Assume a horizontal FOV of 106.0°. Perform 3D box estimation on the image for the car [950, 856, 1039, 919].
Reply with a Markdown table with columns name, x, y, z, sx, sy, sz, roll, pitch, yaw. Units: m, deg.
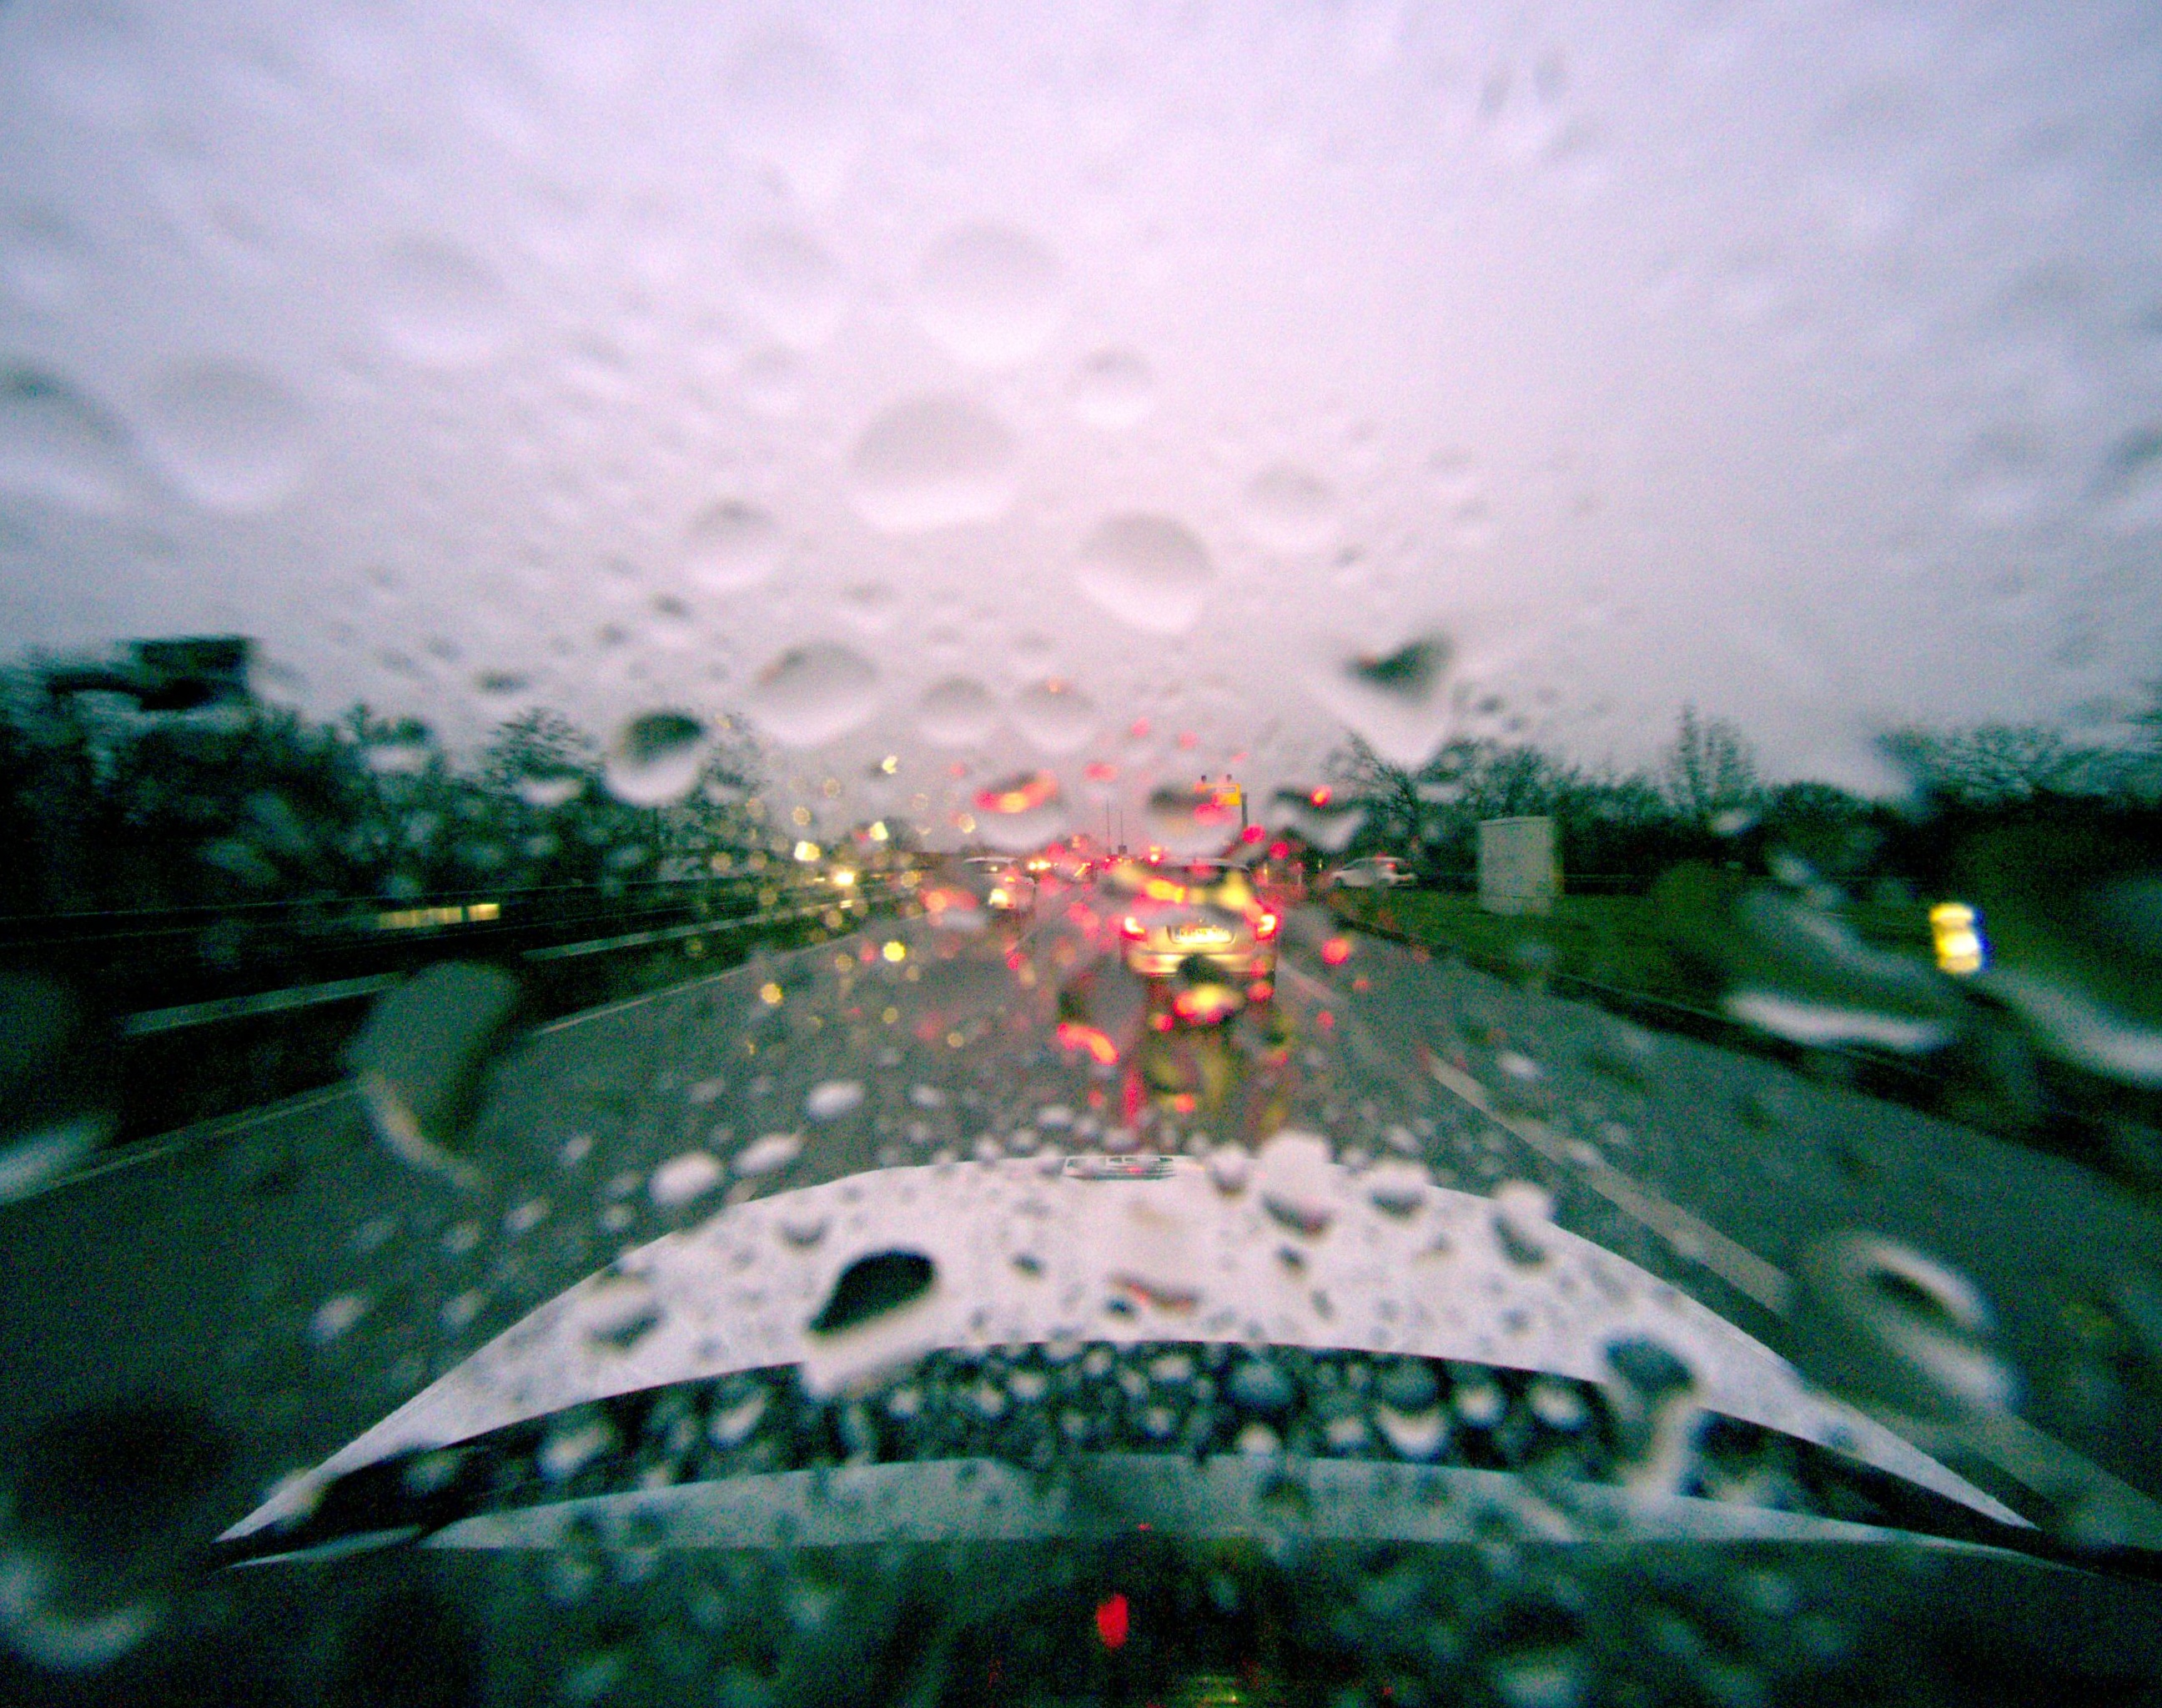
| name | x | y | z | sx | sy | sz | roll | pitch | yaw |
| --- | --- | --- | --- | --- | --- | --- | --- | --- | --- |
| car | -2.137 | 0.796 | 21.141 | 1.717 | 1.440 | 4.227 | -2 | 0 | 1 |

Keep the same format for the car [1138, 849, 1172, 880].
| name | x | y | z | sx | sy | sz | roll | pitch | yaw |
| --- | --- | --- | --- | --- | --- | --- | --- | --- | --- |
| car | 4.496 | 0.604 | 49.959 | 1.889 | 1.767 | 4.312 | -1 | 0 | 3 |

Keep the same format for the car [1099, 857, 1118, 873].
| name | x | y | z | sx | sy | sz | roll | pitch | yaw |
| --- | --- | --- | --- | --- | --- | --- | --- | --- | --- |
| car | 2.913 | 1.110 | 85.508 | 1.781 | 1.545 | 4.005 | -2 | 0 | 4 |

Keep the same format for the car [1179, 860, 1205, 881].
| name | x | y | z | sx | sy | sz | roll | pitch | yaw |
| --- | --- | --- | --- | --- | --- | --- | --- | --- | --- |
| car | 8.743 | 1.273 | 64.451 | 1.781 | 1.545 | 4.004 | -2 | 0 | 4 |

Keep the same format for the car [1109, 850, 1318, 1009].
| name | x | y | z | sx | sy | sz | roll | pitch | yaw |
| --- | --- | --- | --- | --- | --- | --- | --- | --- | --- |
| car | 1.411 | 0.754 | 10.025 | 1.985 | 1.500 | 4.141 | -2 | 0 | 3 |

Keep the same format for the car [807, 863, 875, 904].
| name | x | y | z | sx | sy | sz | roll | pitch | yaw |
| --- | --- | --- | --- | --- | --- | --- | --- | --- | --- |
| car | -11.984 | 1.433 | 40.987 | 1.986 | 1.918 | 4.289 | -1 | 0 | 2 |

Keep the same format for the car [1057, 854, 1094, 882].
| name | x | y | z | sx | sy | sz | roll | pitch | yaw |
| --- | --- | --- | --- | --- | --- | --- | --- | --- | --- |
| car | -0.290 | 0.818 | 48.648 | 1.985 | 1.601 | 4.311 | 0 | 0 | 3 |

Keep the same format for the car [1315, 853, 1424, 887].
| name | x | y | z | sx | sy | sz | roll | pitch | yaw |
| --- | --- | --- | --- | --- | --- | --- | --- | --- | --- |
| car | 12.265 | 0.665 | 34.784 | 2.008 | 1.345 | 3.958 | -1 | 0 | -34 |
